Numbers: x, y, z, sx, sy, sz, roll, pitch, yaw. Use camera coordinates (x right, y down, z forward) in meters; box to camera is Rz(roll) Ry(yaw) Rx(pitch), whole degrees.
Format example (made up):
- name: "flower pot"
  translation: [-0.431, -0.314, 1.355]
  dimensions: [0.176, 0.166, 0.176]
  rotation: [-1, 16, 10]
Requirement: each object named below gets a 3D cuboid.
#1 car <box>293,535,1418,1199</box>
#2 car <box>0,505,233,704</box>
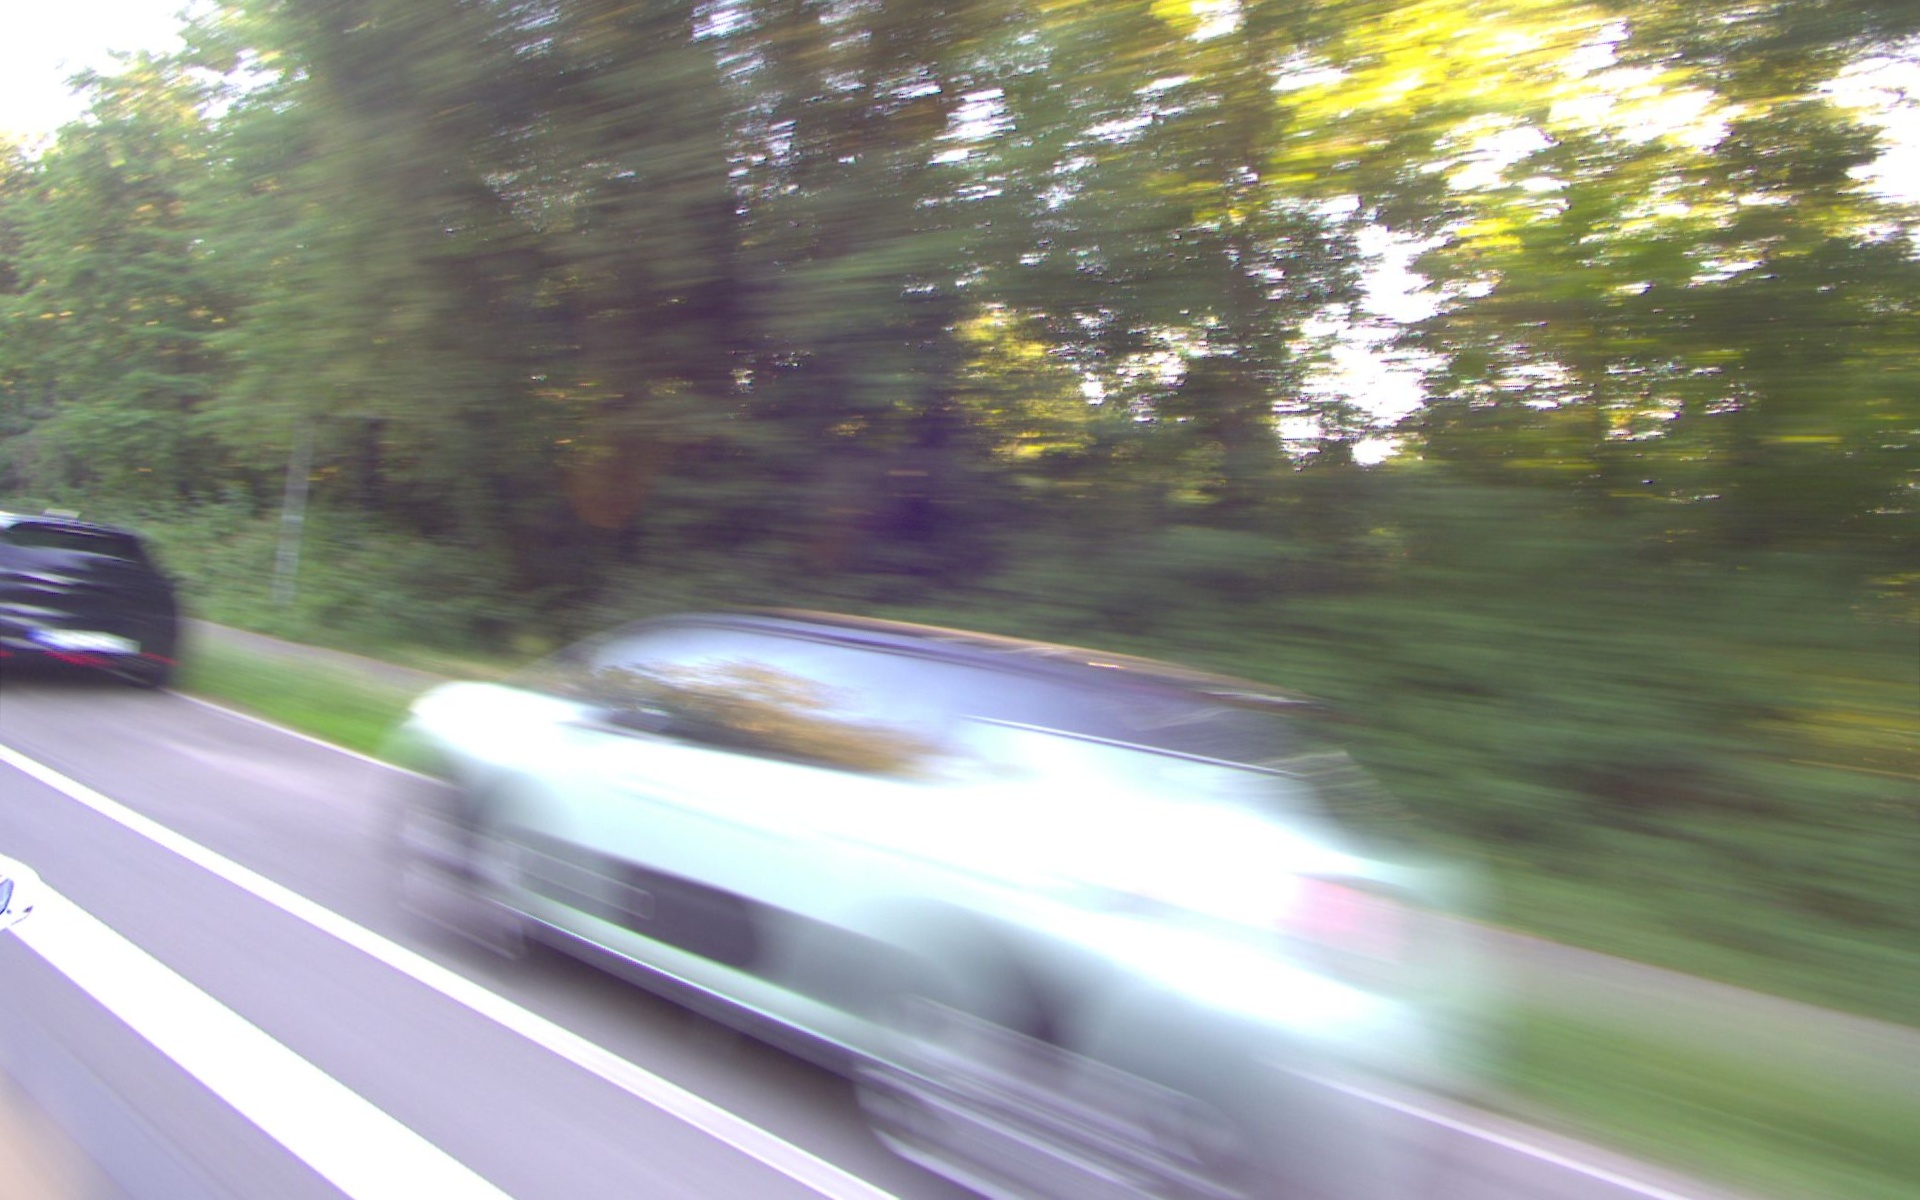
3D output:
- name: "car"
  translation: [-0.613, 0.759, 3.906]
  dimensions: [4.044, 1.565, 1.690]
  rotation: [7, 0, 32]
- name: "car"
  translation: [-8.553, -0.100, 9.083]
  dimensions: [4.054, 1.461, 1.713]
  rotation: [7, -1, 32]
